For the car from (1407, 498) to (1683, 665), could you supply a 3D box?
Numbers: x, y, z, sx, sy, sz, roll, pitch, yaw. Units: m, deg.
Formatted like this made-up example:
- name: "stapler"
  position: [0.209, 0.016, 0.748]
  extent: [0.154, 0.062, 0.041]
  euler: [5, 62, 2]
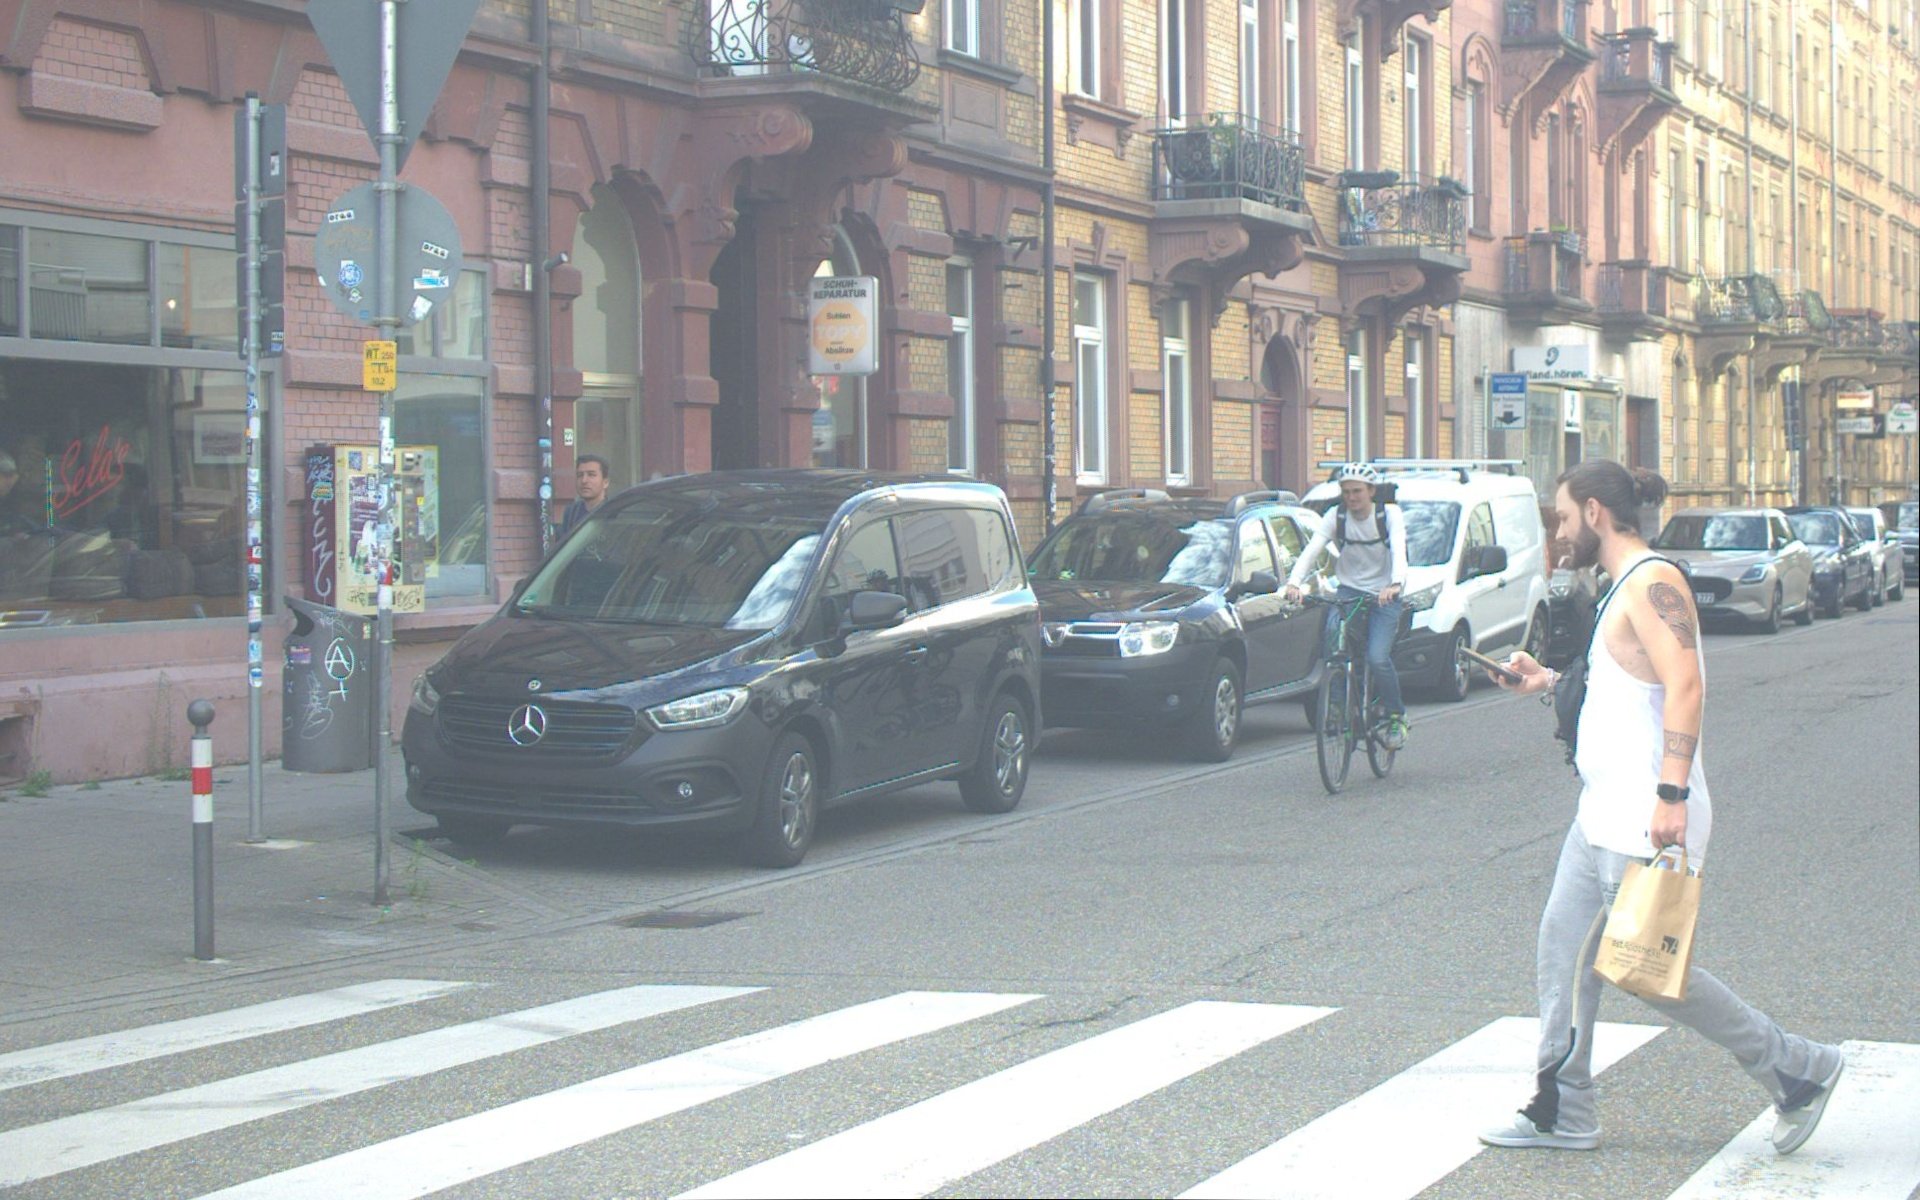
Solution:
- name: "car"
  position: [5.750, -0.219, 33.421]
  extent: [1.744, 1.478, 3.979]
  euler: [2, 2, 23]

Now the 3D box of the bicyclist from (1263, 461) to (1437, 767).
- name: "bicyclist"
  position: [2.213, 0.063, 19.412]
  extent: [0.701, 1.672, 1.111]
  euler: [-1, 2, 20]

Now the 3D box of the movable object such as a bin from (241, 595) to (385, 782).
- name: "movable object such as a bin"
  position: [-2.593, 0.347, 13.796]
  extent: [0.383, 0.711, 0.475]
  euler: [1, 2, 19]

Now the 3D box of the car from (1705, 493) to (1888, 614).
- name: "car"
  position: [11.316, -0.664, 46.367]
  extent: [1.744, 1.478, 3.979]
  euler: [2, 3, 23]

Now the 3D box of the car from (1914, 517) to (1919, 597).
- name: "car"
  position: [18.885, -0.833, 63.931]
  extent: [1.692, 1.432, 3.863]
  euler: [2, 3, 23]

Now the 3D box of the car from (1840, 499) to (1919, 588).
- name: "car"
  position: [16.099, -0.984, 58.296]
  extent: [1.692, 1.381, 3.863]
  euler: [2, 3, 23]

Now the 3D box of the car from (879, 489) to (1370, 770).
- name: "car"
  position: [1.196, 0.102, 22.791]
  extent: [1.996, 1.632, 4.141]
  euler: [1, 3, 22]

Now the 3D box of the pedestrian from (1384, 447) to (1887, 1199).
- name: "pedestrian"
  position: [1.601, 0.492, 8.075]
  extent: [1.020, 1.665, 0.803]
  euler: [0, 1, 22]

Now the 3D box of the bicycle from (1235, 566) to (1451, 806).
- name: "bicycle"
  position: [2.177, 0.449, 19.291]
  extent: [0.701, 1.216, 2.115]
  euler: [-1, 2, 20]

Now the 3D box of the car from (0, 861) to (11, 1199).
- name: "car"
  position: [-3.622, 0.684, 5.467]
  extent: [1.794, 1.433, 3.994]
  euler: [-1, 1, 28]

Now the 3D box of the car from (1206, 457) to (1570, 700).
- name: "car"
  position: [3.666, -0.250, 28.709]
  extent: [1.922, 1.865, 4.432]
  euler: [0, 2, 22]

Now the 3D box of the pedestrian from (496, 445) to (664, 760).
- name: "pedestrian"
  position: [-2.283, -0.003, 20.692]
  extent: [0.677, 1.834, 0.857]
  euler: [2, 3, 17]

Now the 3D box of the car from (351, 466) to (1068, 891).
- name: "car"
  position: [-1.071, 0.247, 17.081]
  extent: [1.762, 1.767, 4.401]
  euler: [3, 3, 22]

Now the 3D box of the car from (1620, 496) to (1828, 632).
- name: "car"
  position: [9.330, -0.477, 41.796]
  extent: [1.744, 1.478, 3.979]
  euler: [2, 3, 23]

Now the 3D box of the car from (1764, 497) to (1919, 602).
- name: "car"
  position: [13.002, -0.774, 50.439]
  extent: [1.692, 1.381, 3.863]
  euler: [2, 3, 23]
